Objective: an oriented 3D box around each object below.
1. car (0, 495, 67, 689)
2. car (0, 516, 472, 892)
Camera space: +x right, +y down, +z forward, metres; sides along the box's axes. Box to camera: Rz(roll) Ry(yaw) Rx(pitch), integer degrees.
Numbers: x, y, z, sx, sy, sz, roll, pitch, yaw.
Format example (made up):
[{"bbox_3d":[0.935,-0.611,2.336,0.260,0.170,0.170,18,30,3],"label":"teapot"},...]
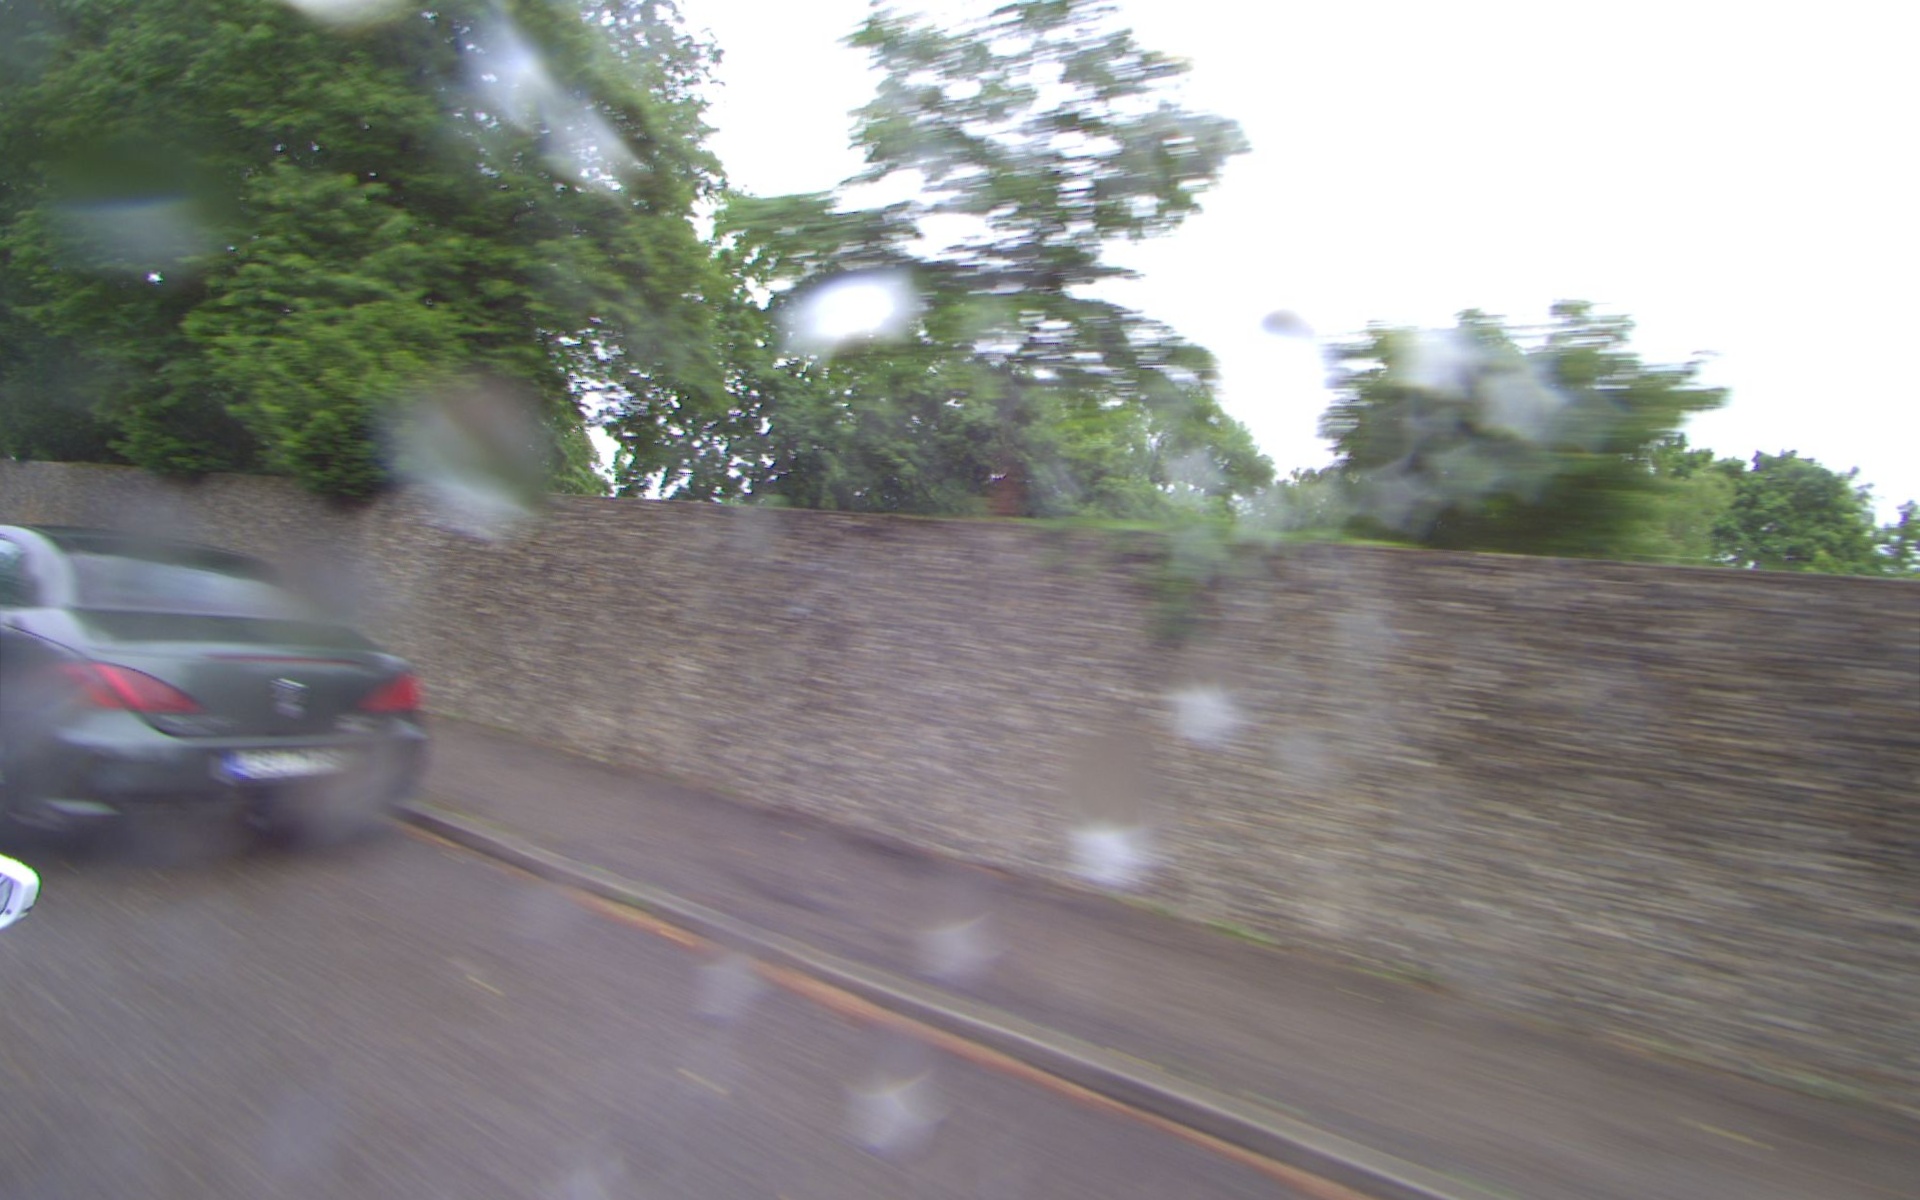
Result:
[{"bbox_3d":[-9.395,-0.259,8.495,3.648,1.513,1.652,5,-4,32],"label":"car"},{"bbox_3d":[-4.848,0.314,5.624,4.110,1.387,1.656,7,-2,30],"label":"car"}]
